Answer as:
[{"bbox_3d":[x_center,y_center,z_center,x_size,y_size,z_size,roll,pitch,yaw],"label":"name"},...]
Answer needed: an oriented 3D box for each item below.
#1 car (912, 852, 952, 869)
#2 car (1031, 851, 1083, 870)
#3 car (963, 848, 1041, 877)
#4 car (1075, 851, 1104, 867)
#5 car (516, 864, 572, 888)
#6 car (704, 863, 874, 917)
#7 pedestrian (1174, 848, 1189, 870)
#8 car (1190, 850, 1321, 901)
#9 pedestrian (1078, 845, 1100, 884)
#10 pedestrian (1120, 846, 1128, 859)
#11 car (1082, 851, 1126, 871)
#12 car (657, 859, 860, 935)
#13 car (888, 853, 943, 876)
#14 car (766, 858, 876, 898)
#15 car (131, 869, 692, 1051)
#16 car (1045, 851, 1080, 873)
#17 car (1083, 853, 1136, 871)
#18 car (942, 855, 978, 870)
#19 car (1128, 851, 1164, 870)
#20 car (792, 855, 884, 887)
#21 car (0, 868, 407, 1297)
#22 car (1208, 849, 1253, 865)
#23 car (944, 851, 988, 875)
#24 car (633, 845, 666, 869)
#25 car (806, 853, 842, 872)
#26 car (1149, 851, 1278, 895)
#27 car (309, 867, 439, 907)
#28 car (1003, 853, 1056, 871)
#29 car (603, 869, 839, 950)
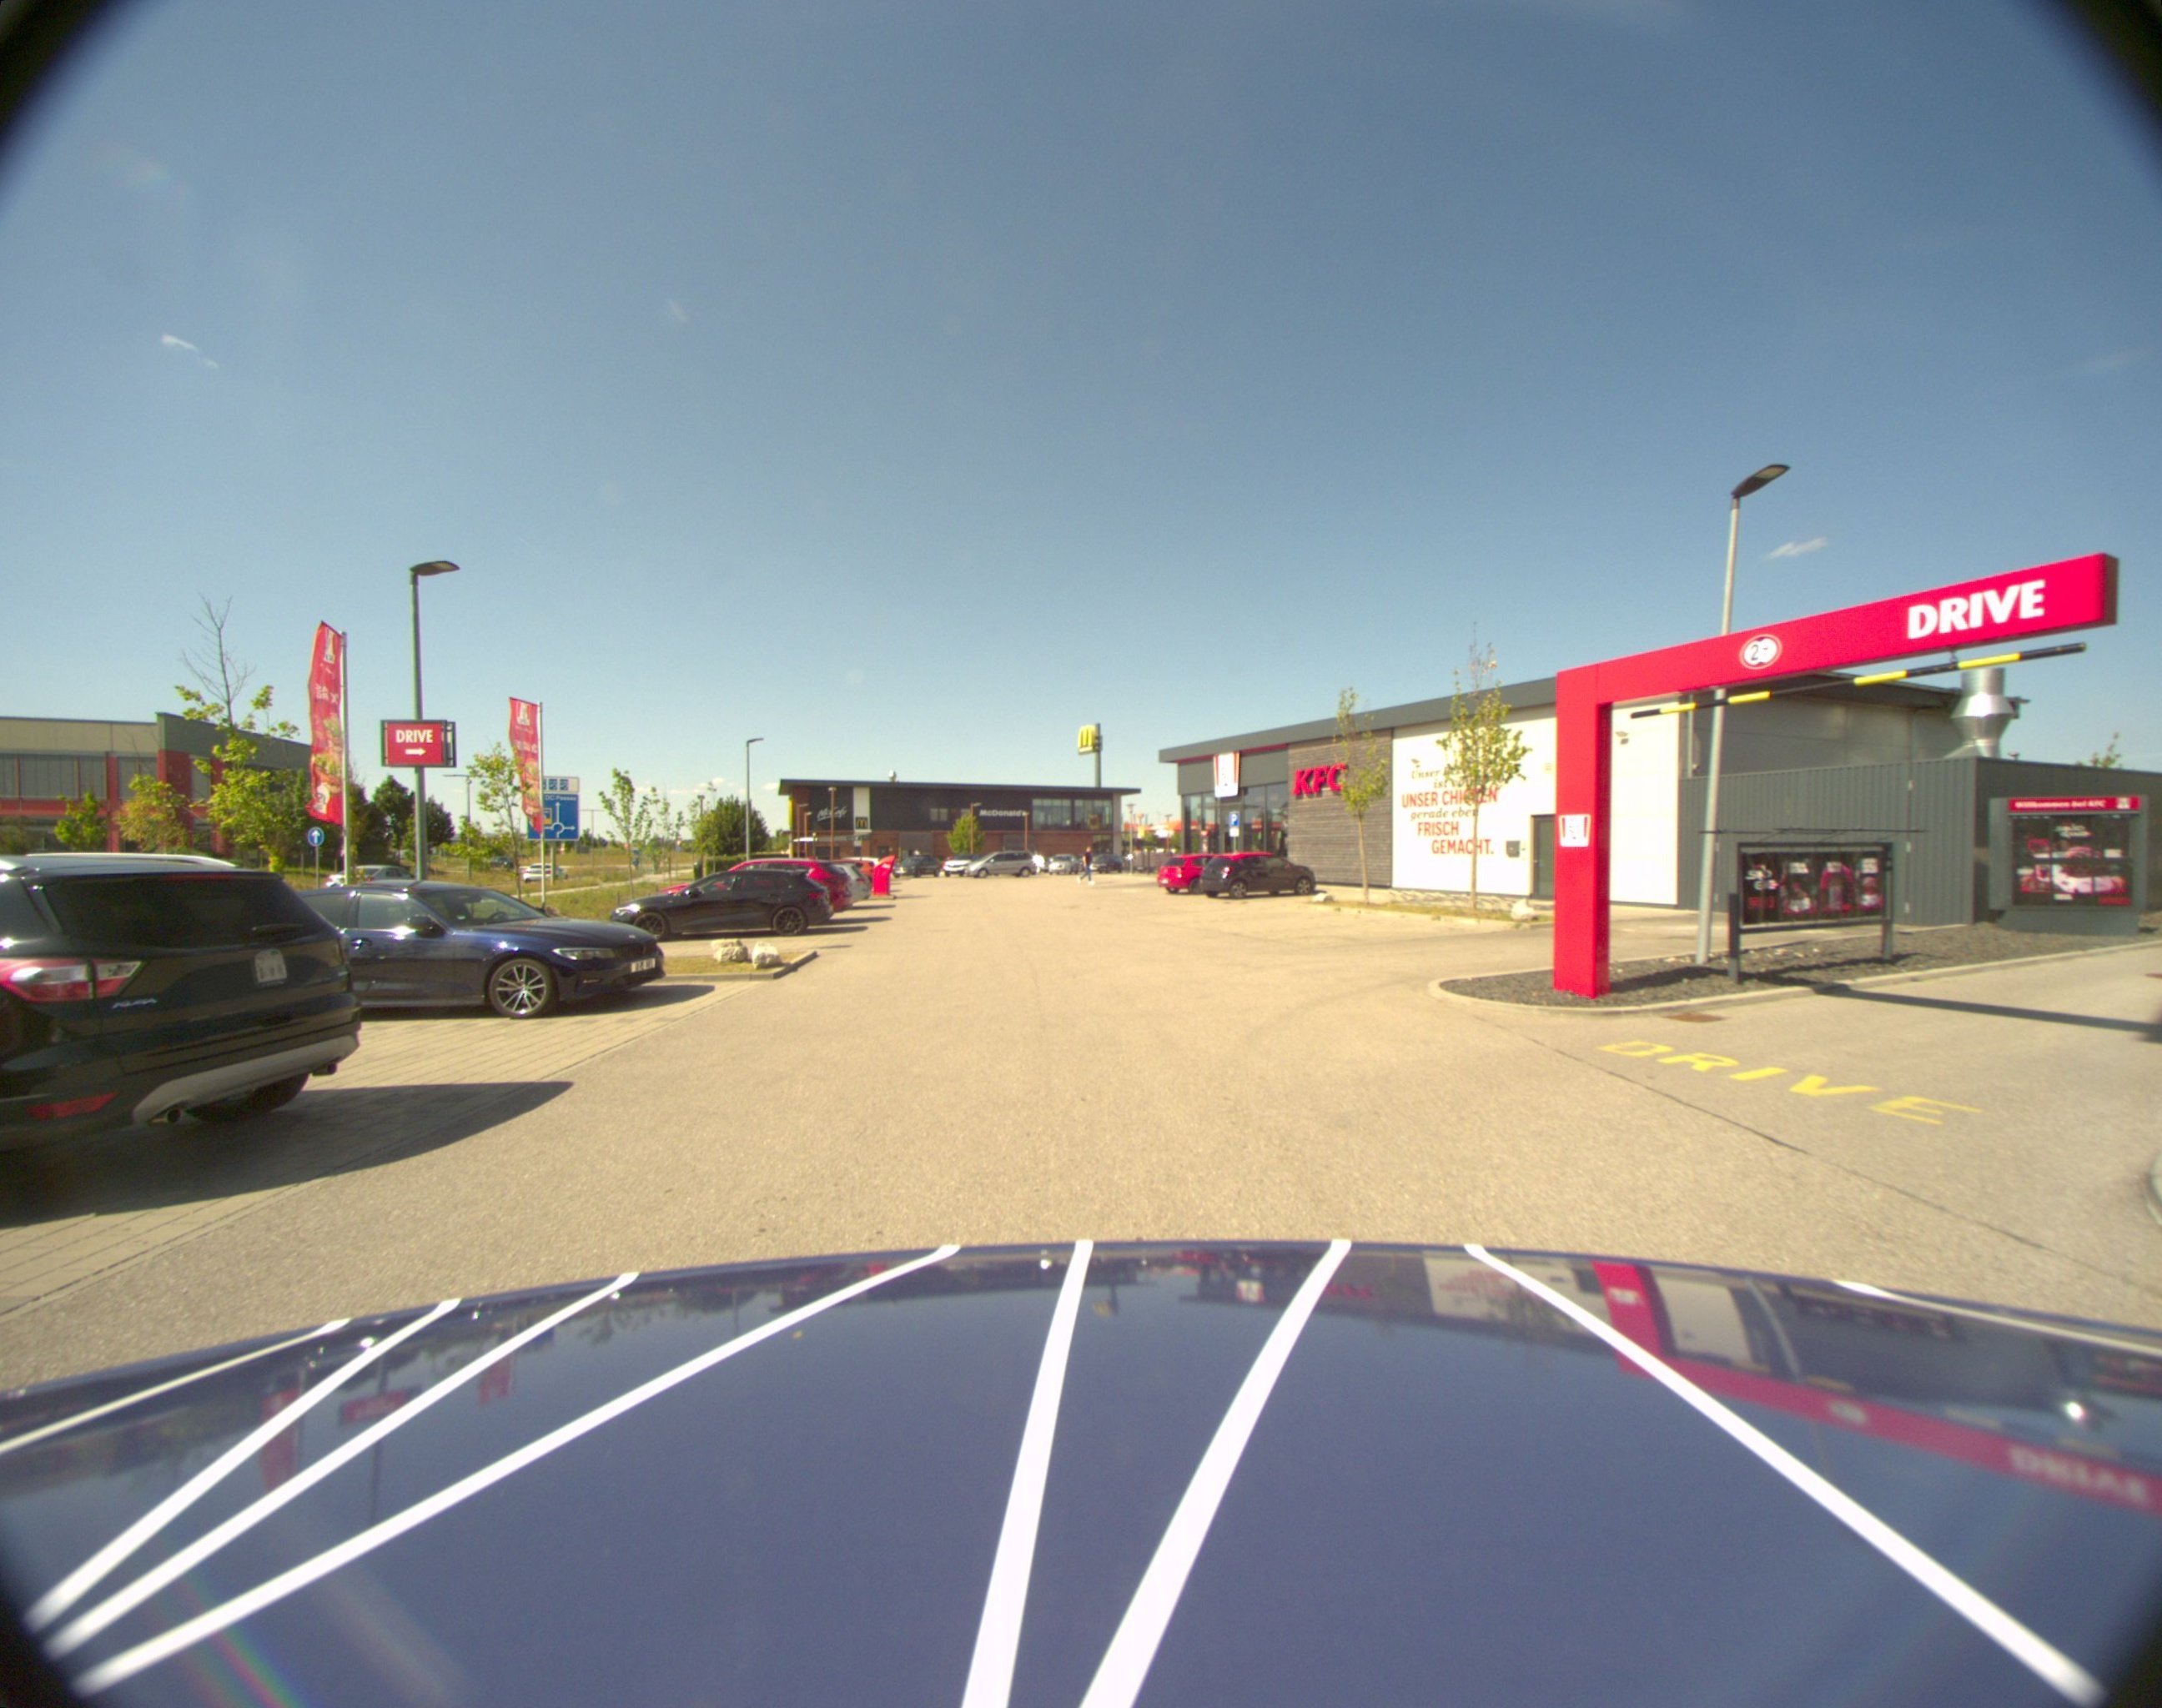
[{"bbox_3d":[-14.894,0.649,76.191,1.958,1.593,4.473,-1,0,17],"label":"car"},{"bbox_3d":[-2.097,0.560,65.931,4.105,1.506,1.816,-1,1,23],"label":"car"},{"bbox_3d":[-5.176,0.528,49.742,4.689,1.738,1.829,-1,1,-23],"label":"car"},{"bbox_3d":[0.937,0.522,80.974,1.713,1.603,4.042,-1,0,21],"label":"car"},{"bbox_3d":[-37.279,1.480,52.847,2.002,1.518,4.649,-1,0,-20],"label":"car"},{"bbox_3d":[-8.790,1.064,23.256,4.603,1.405,1.738,-1,1,-13],"label":"car"},{"bbox_3d":[5.827,0.303,44.161,0.625,1.266,0.612,-1,0,-39],"label":"pedestrian"},{"bbox_3d":[5.782,0.673,25.180,3.913,1.498,1.737,-2,1,-23],"label":"car"},{"bbox_3d":[0.376,0.473,35.410,0.994,1.799,0.726,-2,1,0],"label":"pedestrian"},{"bbox_3d":[5.502,-0.203,96.825,0.700,1.550,0.723,0,0,39],"label":"pedestrian"},{"bbox_3d":[1.828,0.506,58.114,1.971,1.478,4.790,-1,0,20],"label":"car"},{"bbox_3d":[-7.773,0.995,18.740,4.232,1.628,1.949,-1,1,-10],"label":"car"},{"bbox_3d":[-11.291,0.713,52.027,1.972,1.517,4.212,-1,0,15],"label":"car"},{"bbox_3d":[-11.152,0.998,32.852,4.356,1.461,1.830,-2,1,-16],"label":"car"},{"bbox_3d":[-7.111,1.060,8.525,4.449,1.628,1.895,-1,1,-3],"label":"car"},{"bbox_3d":[-1.357,0.582,56.316,1.973,1.517,4.209,-1,0,7],"label":"car"},{"bbox_3d":[2.493,0.712,66.752,4.270,1.478,1.816,-1,1,23],"label":"car"},{"bbox_3d":[-12.022,0.794,75.947,1.959,1.457,4.472,-1,0,14],"label":"car"},{"bbox_3d":[5.120,0.504,59.083,1.832,1.451,4.376,-1,0,18],"label":"car"},{"bbox_3d":[-12.834,0.886,40.358,4.484,1.461,1.830,-2,1,-16],"label":"car"},{"bbox_3d":[-6.550,0.999,3.891,4.330,1.693,1.895,-1,1,-3],"label":"car"},{"bbox_3d":[14.278,0.283,72.433,3.991,1.543,1.757,-1,0,20],"label":"car"},{"bbox_3d":[-8.029,0.607,53.606,1.973,1.645,4.209,-1,0,7],"label":"car"},{"bbox_3d":[-40.477,0.264,71.358,2.002,2.184,5.097,-1,0,-22],"label":"car"},{"bbox_3d":[-23.335,0.747,69.137,1.996,1.681,4.235,0,0,-3],"label":"car"},{"bbox_3d":[4.865,0.665,27.808,4.407,1.405,1.737,-2,1,-25],"label":"car"},{"bbox_3d":[-30.735,1.386,33.264,2.001,1.518,4.652,-1,0,-12],"label":"car"},{"bbox_3d":[-4.328,0.681,64.278,4.105,1.484,1.714,-1,1,23],"label":"car"},{"bbox_3d":[-7.446,1.112,16.158,4.208,1.402,1.771,-1,1,-12],"label":"car"}]
